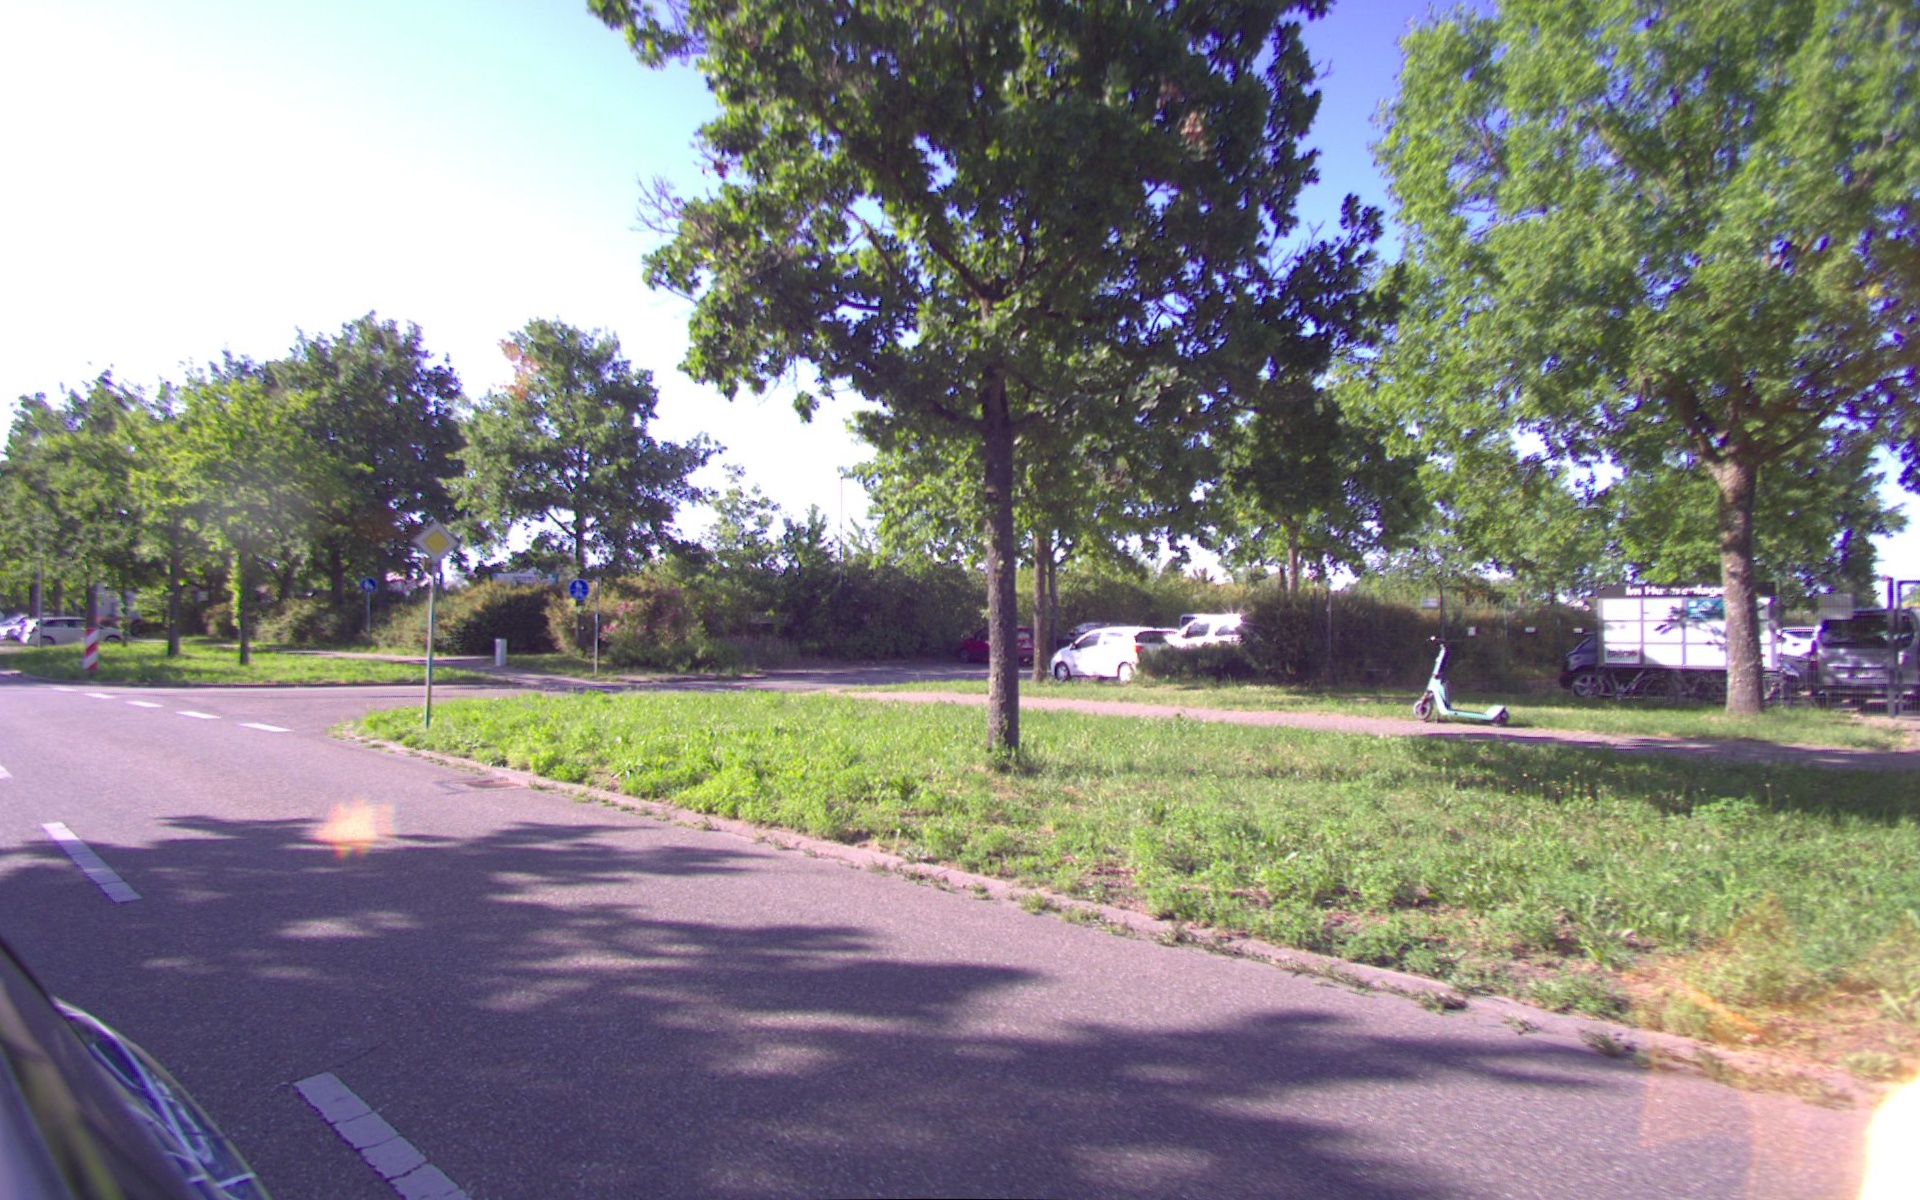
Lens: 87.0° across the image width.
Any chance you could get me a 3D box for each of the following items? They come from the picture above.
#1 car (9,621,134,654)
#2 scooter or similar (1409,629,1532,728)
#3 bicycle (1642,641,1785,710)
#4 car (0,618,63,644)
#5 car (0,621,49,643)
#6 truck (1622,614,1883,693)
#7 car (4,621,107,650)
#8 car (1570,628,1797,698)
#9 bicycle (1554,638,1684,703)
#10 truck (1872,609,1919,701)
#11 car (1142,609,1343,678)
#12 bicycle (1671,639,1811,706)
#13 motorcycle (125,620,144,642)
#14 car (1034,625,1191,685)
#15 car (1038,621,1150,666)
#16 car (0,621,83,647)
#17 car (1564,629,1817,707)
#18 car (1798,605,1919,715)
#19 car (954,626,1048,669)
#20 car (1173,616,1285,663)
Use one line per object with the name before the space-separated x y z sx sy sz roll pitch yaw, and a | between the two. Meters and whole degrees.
car | -45.848 1.902 52.296 2.189 1.570 4.580 -2 -1 40
scooter or similar | 6.963 1.041 13.847 1.439 1.289 0.391 -1 -2 40
bicycle | 12.735 1.247 17.134 1.890 1.096 0.632 -1 -2 41
car | -71.758 2.343 77.701 1.999 1.898 4.181 -2 -1 43
car | -75.865 2.545 81.200 4.015 1.655 1.877 0 -1 -44
truck | 20.598 1.338 26.497 5.185 1.856 2.003 -2 -3 45
car | -53.432 2.081 59.849 2.088 1.522 4.364 -2 -1 43
car | 16.516 1.382 23.232 4.001 1.459 1.775 -2 -3 45
bicycle | 11.888 1.250 18.303 1.890 1.096 0.632 -1 -2 41
truck | 21.267 1.111 21.472 4.614 1.797 2.030 -1 -1 -38
car | 8.279 1.363 30.209 2.270 1.831 5.453 1 -4 -37
bicycle | 13.611 1.240 17.674 1.890 1.096 0.632 -1 -2 41
motorcycle | -57.251 2.156 70.181 1.992 1.443 0.729 -1 1 45
car | 4.069 1.515 27.504 1.967 1.516 3.925 1 -4 -37
car | 5.556 1.784 42.464 1.966 1.798 4.896 1 -2 -33
car | -60.945 2.233 66.876 4.362 1.568 2.089 0 -1 -45
car | 15.057 1.337 21.009 1.774 1.459 4.003 2 -2 -43
car | 17.219 1.014 18.536 3.965 1.797 2.030 -1 -1 -38
car | 1.547 1.797 39.276 1.776 1.516 3.560 1 -1 -37
car | 12.112 1.749 45.902 1.966 2.029 4.896 1 -2 -33
